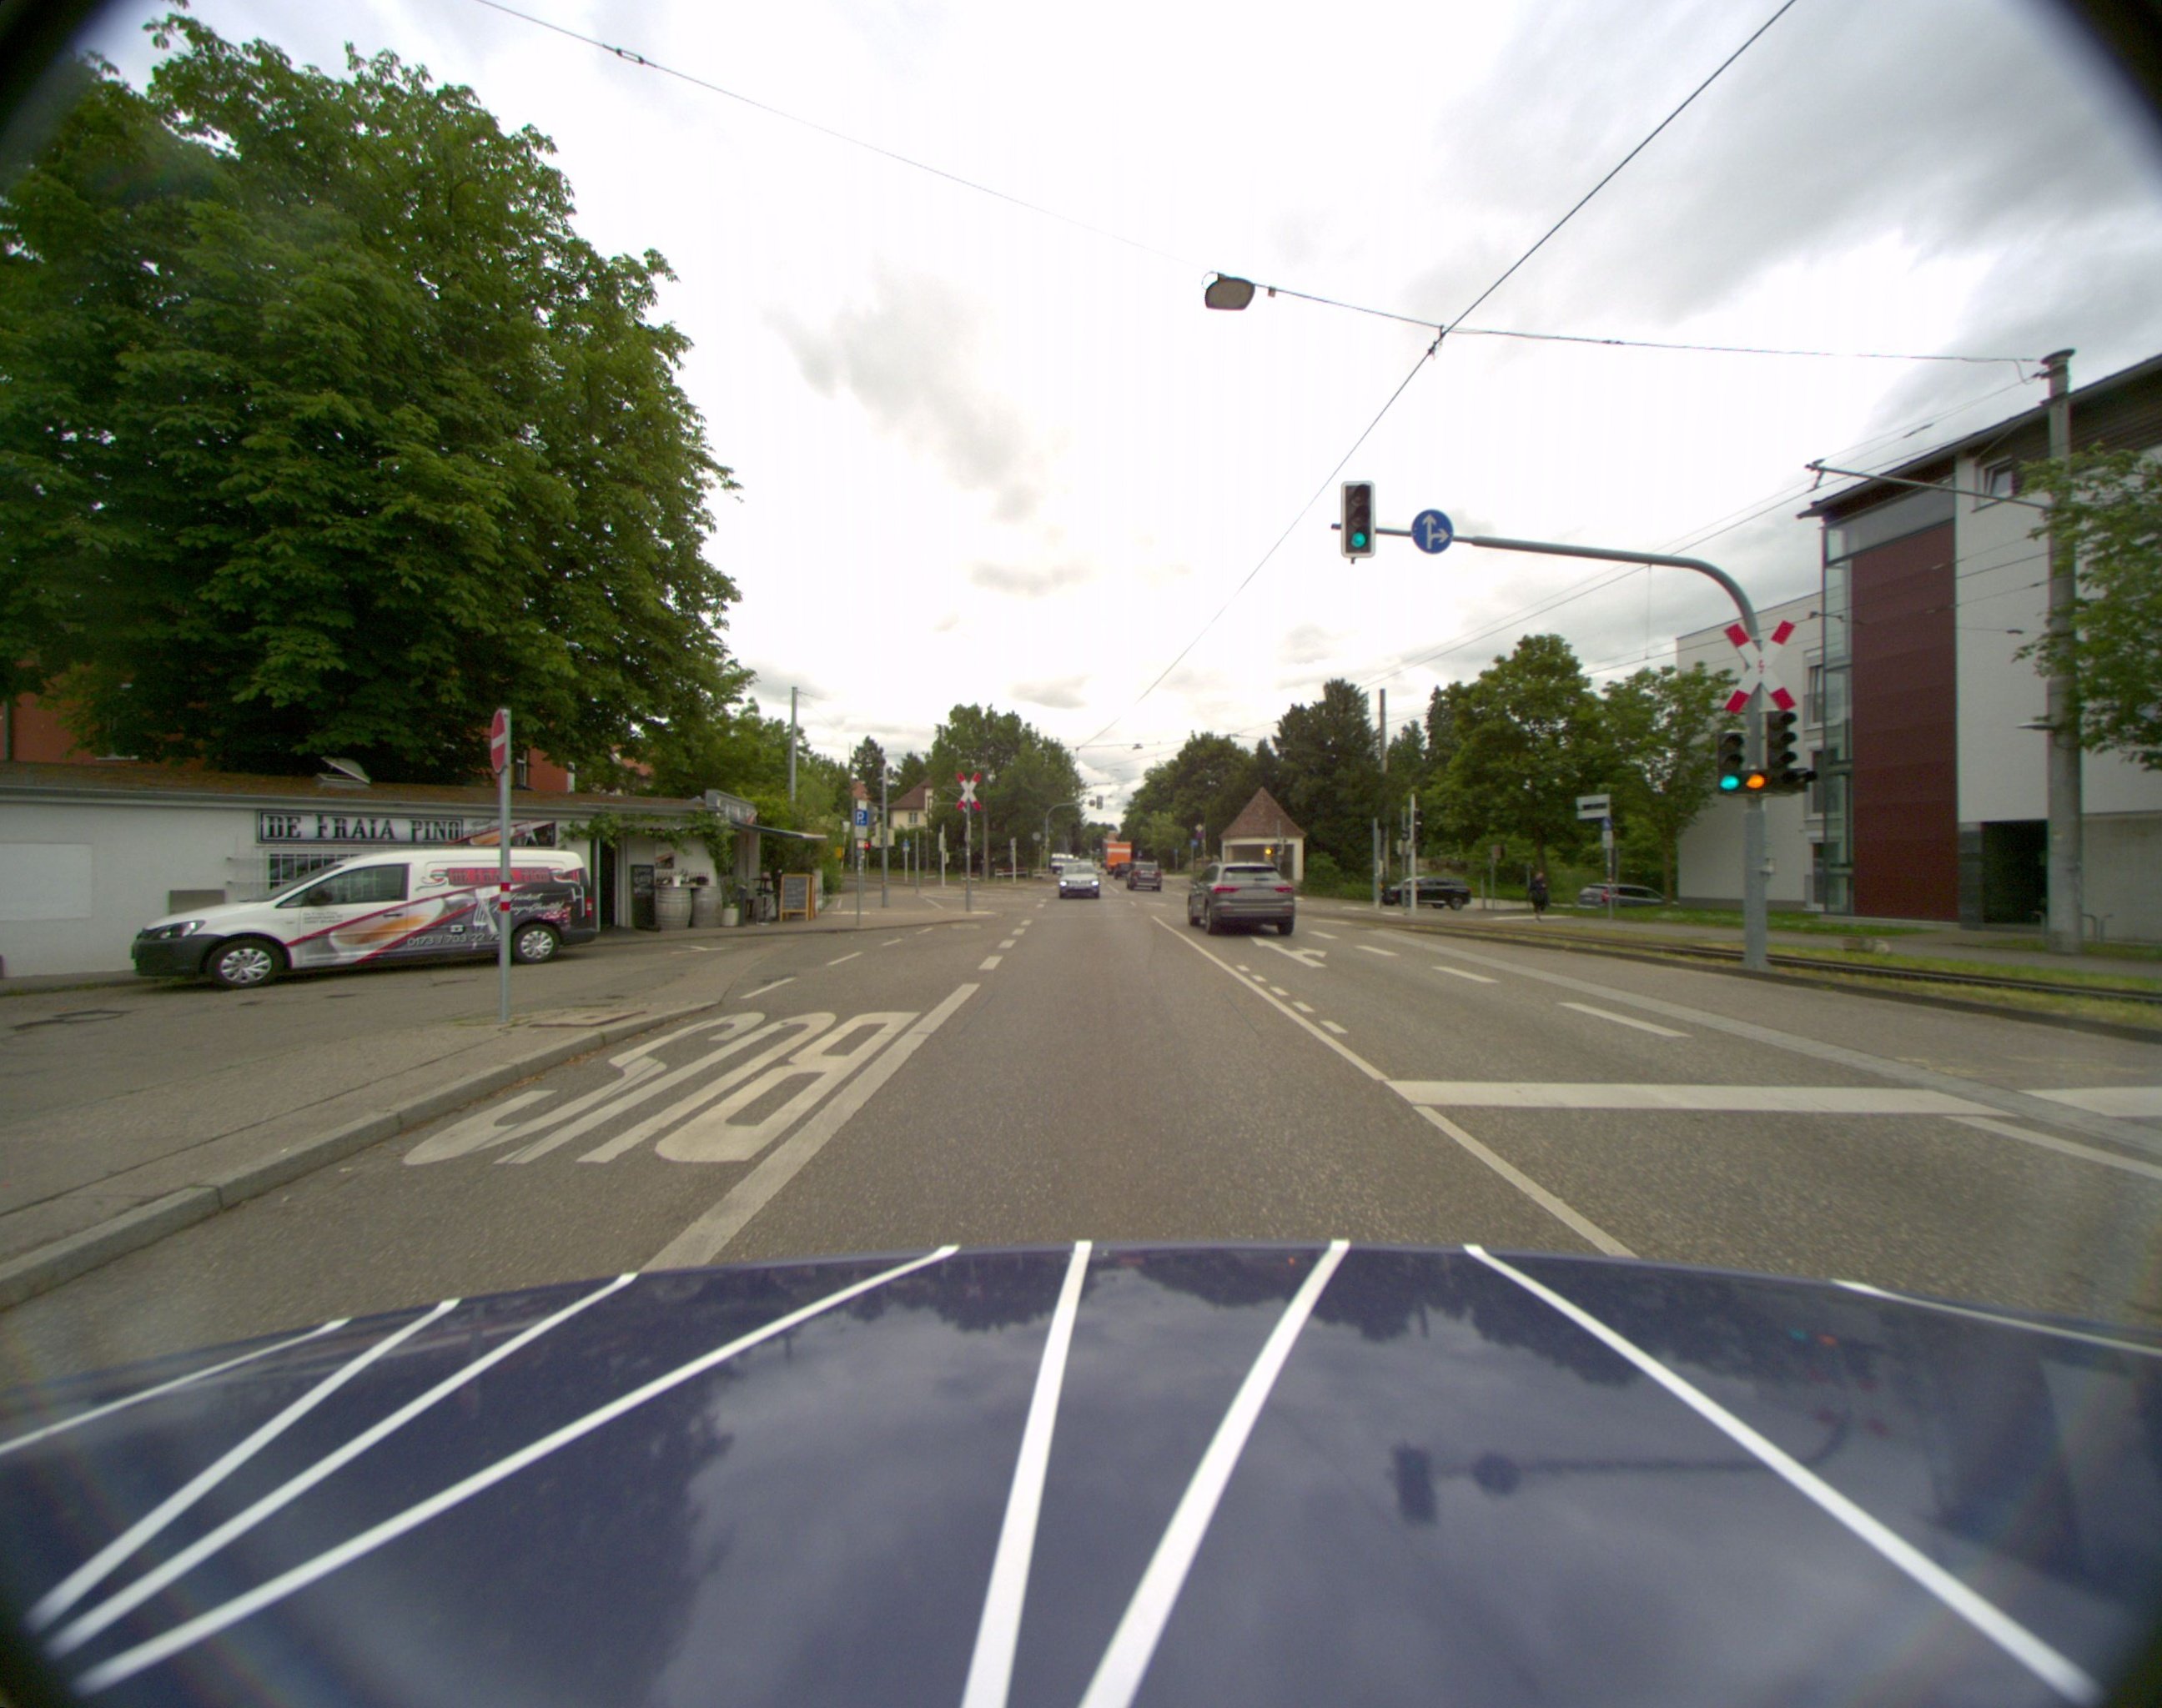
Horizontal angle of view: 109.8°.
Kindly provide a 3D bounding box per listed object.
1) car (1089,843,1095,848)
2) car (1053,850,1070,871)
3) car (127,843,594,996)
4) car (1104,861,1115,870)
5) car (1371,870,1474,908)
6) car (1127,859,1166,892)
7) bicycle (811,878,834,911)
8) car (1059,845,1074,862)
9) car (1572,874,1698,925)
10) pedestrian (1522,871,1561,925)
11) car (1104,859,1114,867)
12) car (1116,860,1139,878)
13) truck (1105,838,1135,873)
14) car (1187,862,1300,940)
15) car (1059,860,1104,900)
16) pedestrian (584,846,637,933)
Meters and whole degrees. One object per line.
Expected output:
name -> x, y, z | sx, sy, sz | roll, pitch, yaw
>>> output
car -> 3.778, -2.782, 255.333 | 1.913, 1.484, 3.999 | 2, 0, -2
car -> -2.512, 0.867, 98.482 | 2.095, 2.589, 6.681 | 0, 0, -1
car -> -10.072, 0.773, 11.035 | 1.846, 1.738, 4.706 | -1, -1, 39
car -> 4.988, 2.015, 133.543 | 1.668, 1.440, 3.827 | -1, 0, 0
car -> 17.787, 1.809, 39.663 | 4.488, 1.660, 1.965 | 3, 0, -6
car -> 3.788, 1.223, 44.805 | 1.835, 1.660, 4.488 | -3, 0, 0
bicycle -> -9.209, 1.452, 27.121 | 0.550, 1.131, 1.877 | -1, -3, -11
car -> -2.153, -0.077, 116.702 | 2.046, 2.588, 5.967 | 0, 0, 1
car -> 25.696, 2.090, 35.331 | 4.469, 2.002, 1.999 | 4, 0, -5
pedestrian -> 14.280, 1.364, 23.566 | 0.677, 1.634, 0.819 | 1, -2, -4
car -> 5.615, 1.744, 154.480 | 1.944, 1.522, 4.526 | 2, 0, 1
car -> 4.053, 1.332, 67.052 | 1.679, 1.497, 3.733 | 2, 0, -1
truck -> 4.357, 0.172, 86.776 | 2.776, 3.697, 8.468 | 2, 0, 0
car -> 3.601, 0.986, 17.562 | 1.744, 1.550, 4.183 | 0, 0, 0
car -> -0.025, 1.156, 35.226 | 1.835, 1.610, 4.487 | -2, 0, -2
pedestrian -> -10.214, 0.756, 16.507 | 0.685, 1.846, 0.625 | 0, -2, 17
